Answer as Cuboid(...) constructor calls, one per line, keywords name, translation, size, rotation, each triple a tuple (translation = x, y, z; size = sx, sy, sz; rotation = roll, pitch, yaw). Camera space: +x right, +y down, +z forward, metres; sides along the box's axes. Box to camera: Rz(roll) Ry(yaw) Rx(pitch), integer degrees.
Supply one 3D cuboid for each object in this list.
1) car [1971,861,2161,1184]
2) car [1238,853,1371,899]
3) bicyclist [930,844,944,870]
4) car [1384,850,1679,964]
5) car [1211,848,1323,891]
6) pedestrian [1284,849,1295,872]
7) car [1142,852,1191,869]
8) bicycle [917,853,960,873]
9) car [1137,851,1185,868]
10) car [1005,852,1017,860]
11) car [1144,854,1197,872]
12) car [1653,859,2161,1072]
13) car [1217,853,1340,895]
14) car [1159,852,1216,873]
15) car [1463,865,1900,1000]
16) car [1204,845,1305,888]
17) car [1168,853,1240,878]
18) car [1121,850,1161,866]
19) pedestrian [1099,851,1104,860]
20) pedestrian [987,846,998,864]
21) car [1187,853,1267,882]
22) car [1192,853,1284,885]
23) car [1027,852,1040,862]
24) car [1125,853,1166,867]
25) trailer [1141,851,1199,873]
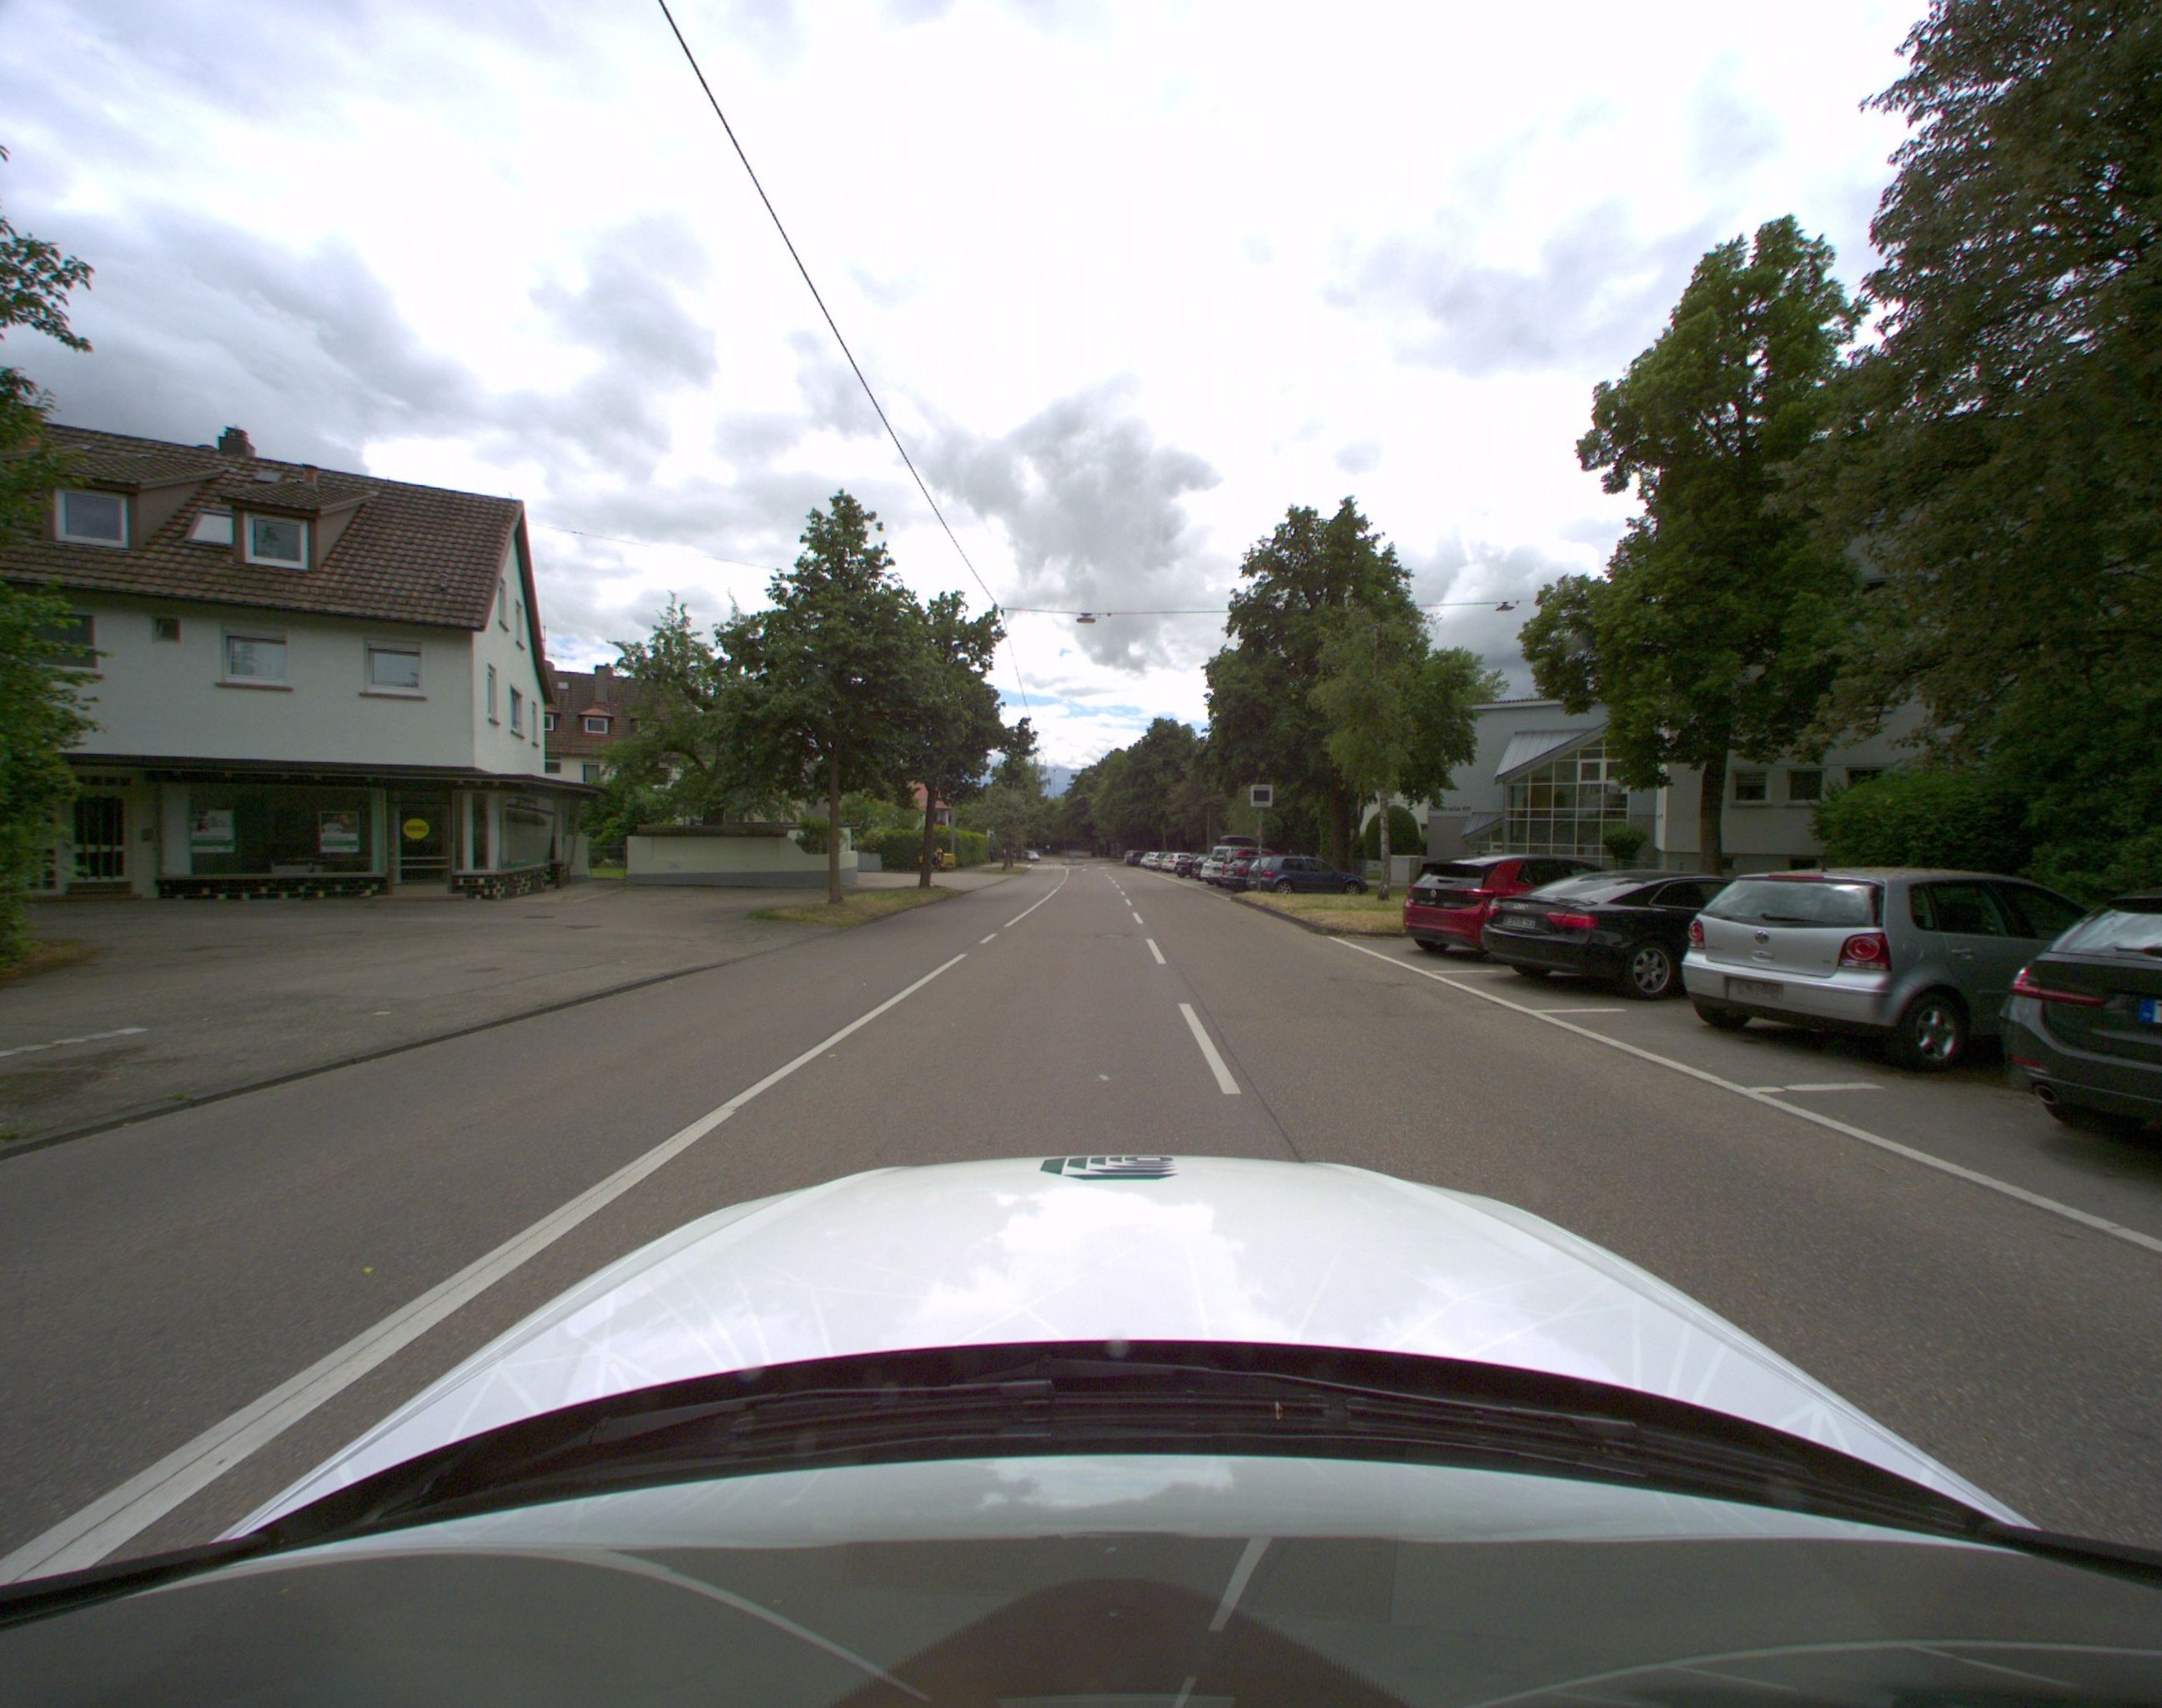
Cuboid(name="car", translation=(7.054, 0.813, 4.046), size=(4.348, 1.445, 1.627), rotation=(1, 0, -13))
Cuboid(name="car", translation=(7.517, 0.746, 27.502), size=(3.969, 1.405, 1.749), rotation=(2, 0, -14))
Cuboid(name="bicyclist", translation=(-9.564, 0.201, 54.030), size=(0.715, 1.697, 0.840), rotation=(1, 1, -29))
Cuboid(name="car", translation=(6.853, 0.721, 12.417), size=(4.086, 1.515, 1.722), rotation=(0, 0, -21))
Cuboid(name="car", translation=(7.485, 0.611, 32.899), size=(4.003, 1.620, 1.875), rotation=(1, 0, -15))
Cuboid(name="pedestrian", translation=(14.690, 0.478, 57.419), size=(0.646, 1.603, 0.745), rotation=(0, 0, 7))
Cuboid(name="car", translation=(7.453, 0.554, 71.195), size=(3.895, 1.429, 1.733), rotation=(1, 0, -18))
Cuboid(name="bicycle", translation=(-9.443, 0.615, 54.108), size=(2.659, 1.266, 0.840), rotation=(0, 1, -29))
Cuboid(name="car", translation=(7.236, 0.514, 73.775), size=(3.895, 1.429, 1.733), rotation=(1, 0, -18))
Cuboid(name="car", translation=(-13.252, 0.356, 154.366), size=(1.868, 1.471, 3.984), rotation=(0, 0, -11))
Cuboid(name="car", translation=(7.193, 0.728, 65.410), size=(3.901, 1.309, 1.730), rotation=(1, 0, -23))
Cuboid(name="car", translation=(7.012, 0.804, 6.861), size=(3.615, 1.445, 1.626), rotation=(1, 0, -14))
Cuboid(name="car", translation=(7.201, 0.726, 29.779), size=(4.036, 1.405, 1.747), rotation=(1, 0, -17))
Cuboid(name="car", translation=(7.913, 0.626, 60.477), size=(3.897, 1.449, 1.732), rotation=(1, 0, -20))
Cuboid(name="car", translation=(6.951, 0.847, 9.555), size=(4.316, 1.341, 1.726), rotation=(1, 0, -12))
Cuboid(name="car", translation=(7.618, 0.544, 35.788), size=(4.106, 1.754, 1.772), rotation=(1, 0, -25))
Cuboid(name="car", translation=(7.437, 0.693, 49.331), size=(3.900, 1.449, 1.831), rotation=(1, 0, -22))
Cuboid(name="car", translation=(6.418, 0.391, 86.581), size=(3.895, 1.668, 1.733), rotation=(1, 0, -18))
Cuboid(name="pedestrian", translation=(3.609, 0.333, 141.497), size=(0.736, 1.570, 0.654), rotation=(0, 0, 12))
Cuboid(name="pedestrian", translation=(-8.848, 0.115, 81.589), size=(0.972, 1.730, 0.848), rotation=(0, 0, -3))
Cuboid(name="car", translation=(7.933, 0.731, 44.384), size=(3.895, 1.449, 1.833), rotation=(1, 0, -19))
Cuboid(name="car", translation=(7.593, 0.728, 39.462), size=(3.972, 1.449, 1.909), rotation=(1, 0, -14))
Cuboid(name="car", translation=(-7.361, 0.456, 126.018), size=(1.864, 1.471, 3.993), rotation=(0, 0, -5))
Cuboid(name="car", translation=(6.636, 0.606, 83.788), size=(3.895, 1.429, 1.733), rotation=(1, 0, -18))
Cuboid(name="trailer", translation=(6.858, 0.616, 62.726), size=(4.165, 1.573, 1.702), rotation=(1, 0, -18))
